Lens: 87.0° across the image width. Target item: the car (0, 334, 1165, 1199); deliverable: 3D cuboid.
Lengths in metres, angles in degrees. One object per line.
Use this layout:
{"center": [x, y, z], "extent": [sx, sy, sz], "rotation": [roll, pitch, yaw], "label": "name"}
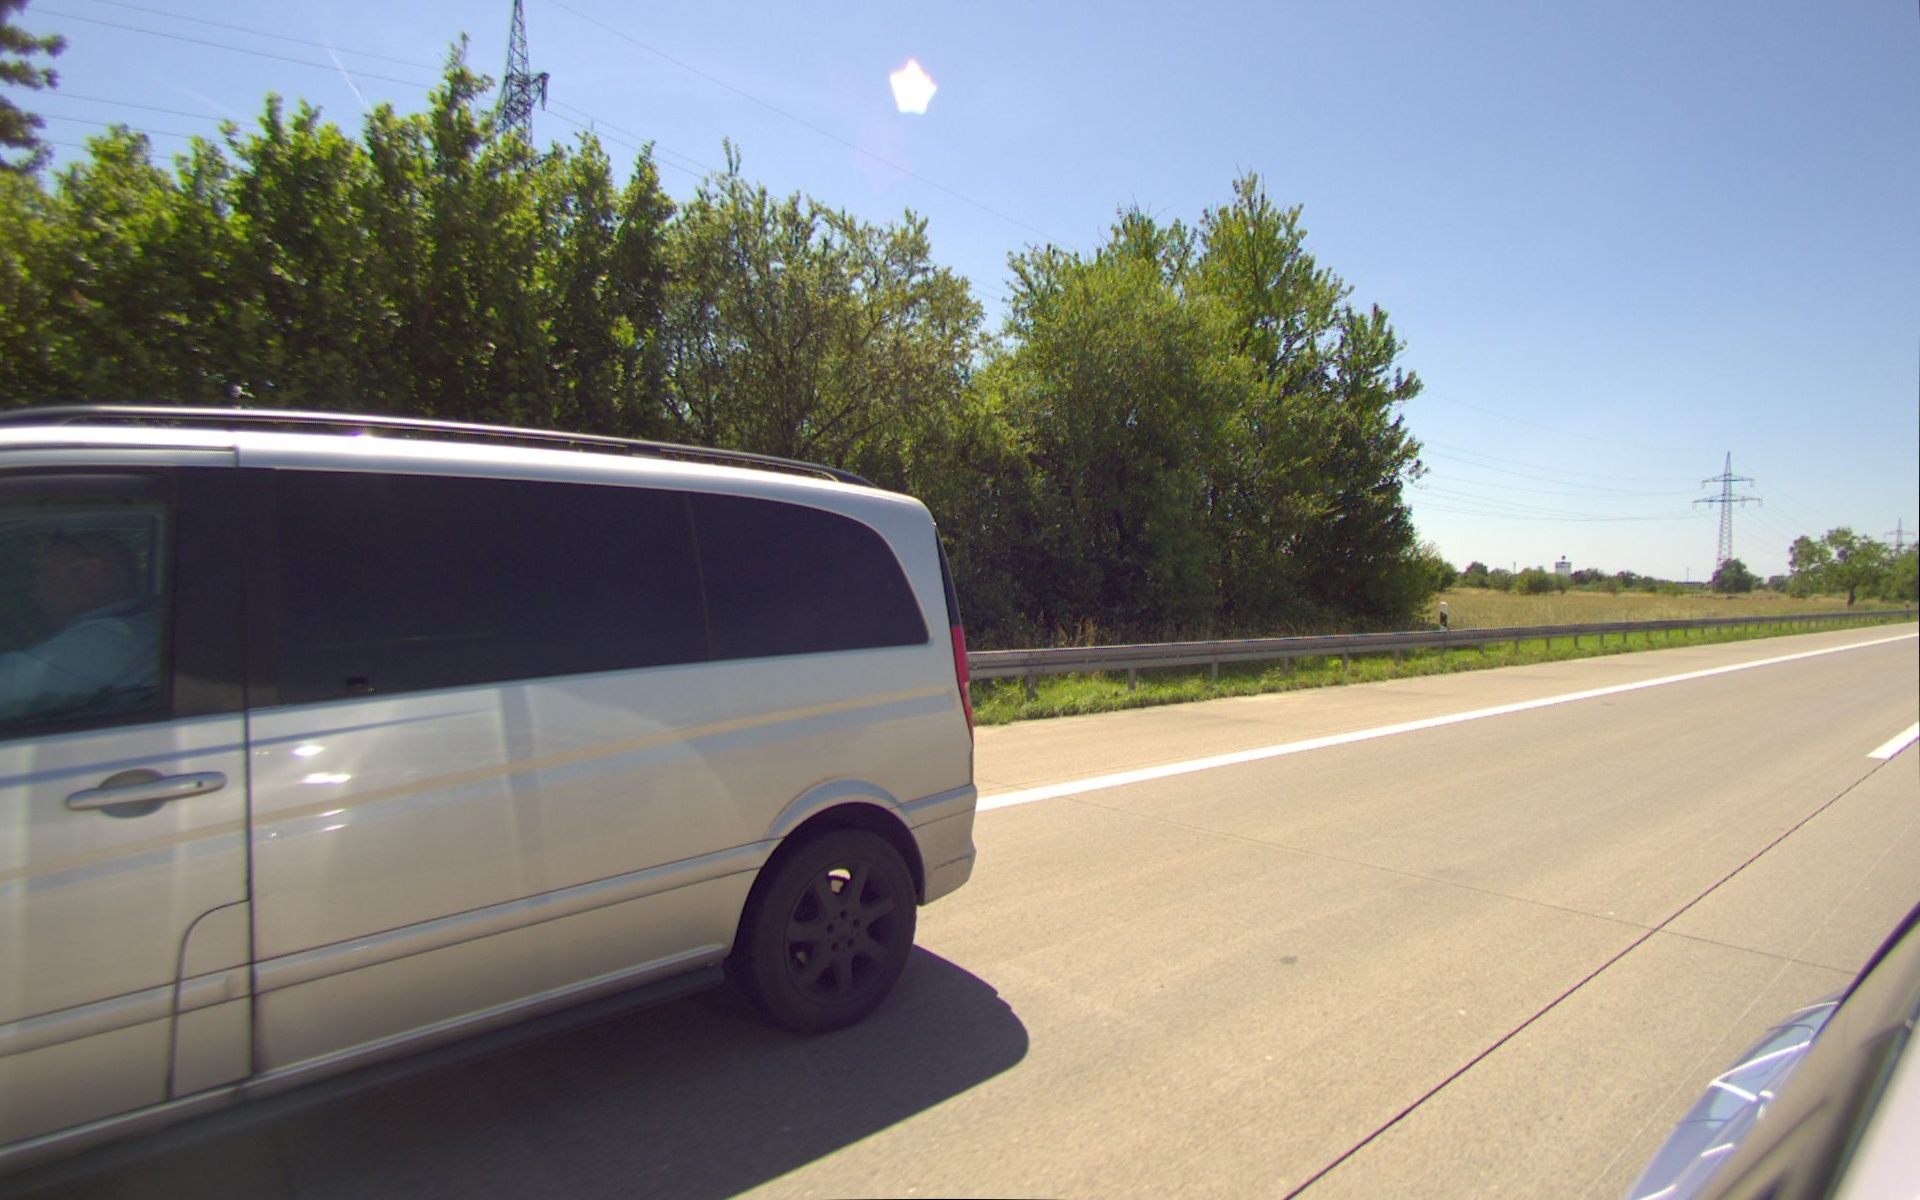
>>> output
{"center": [-1.682, 0.412, 3.434], "extent": [5.187, 1.913, 1.883], "rotation": [0, 1, -41], "label": "car"}
